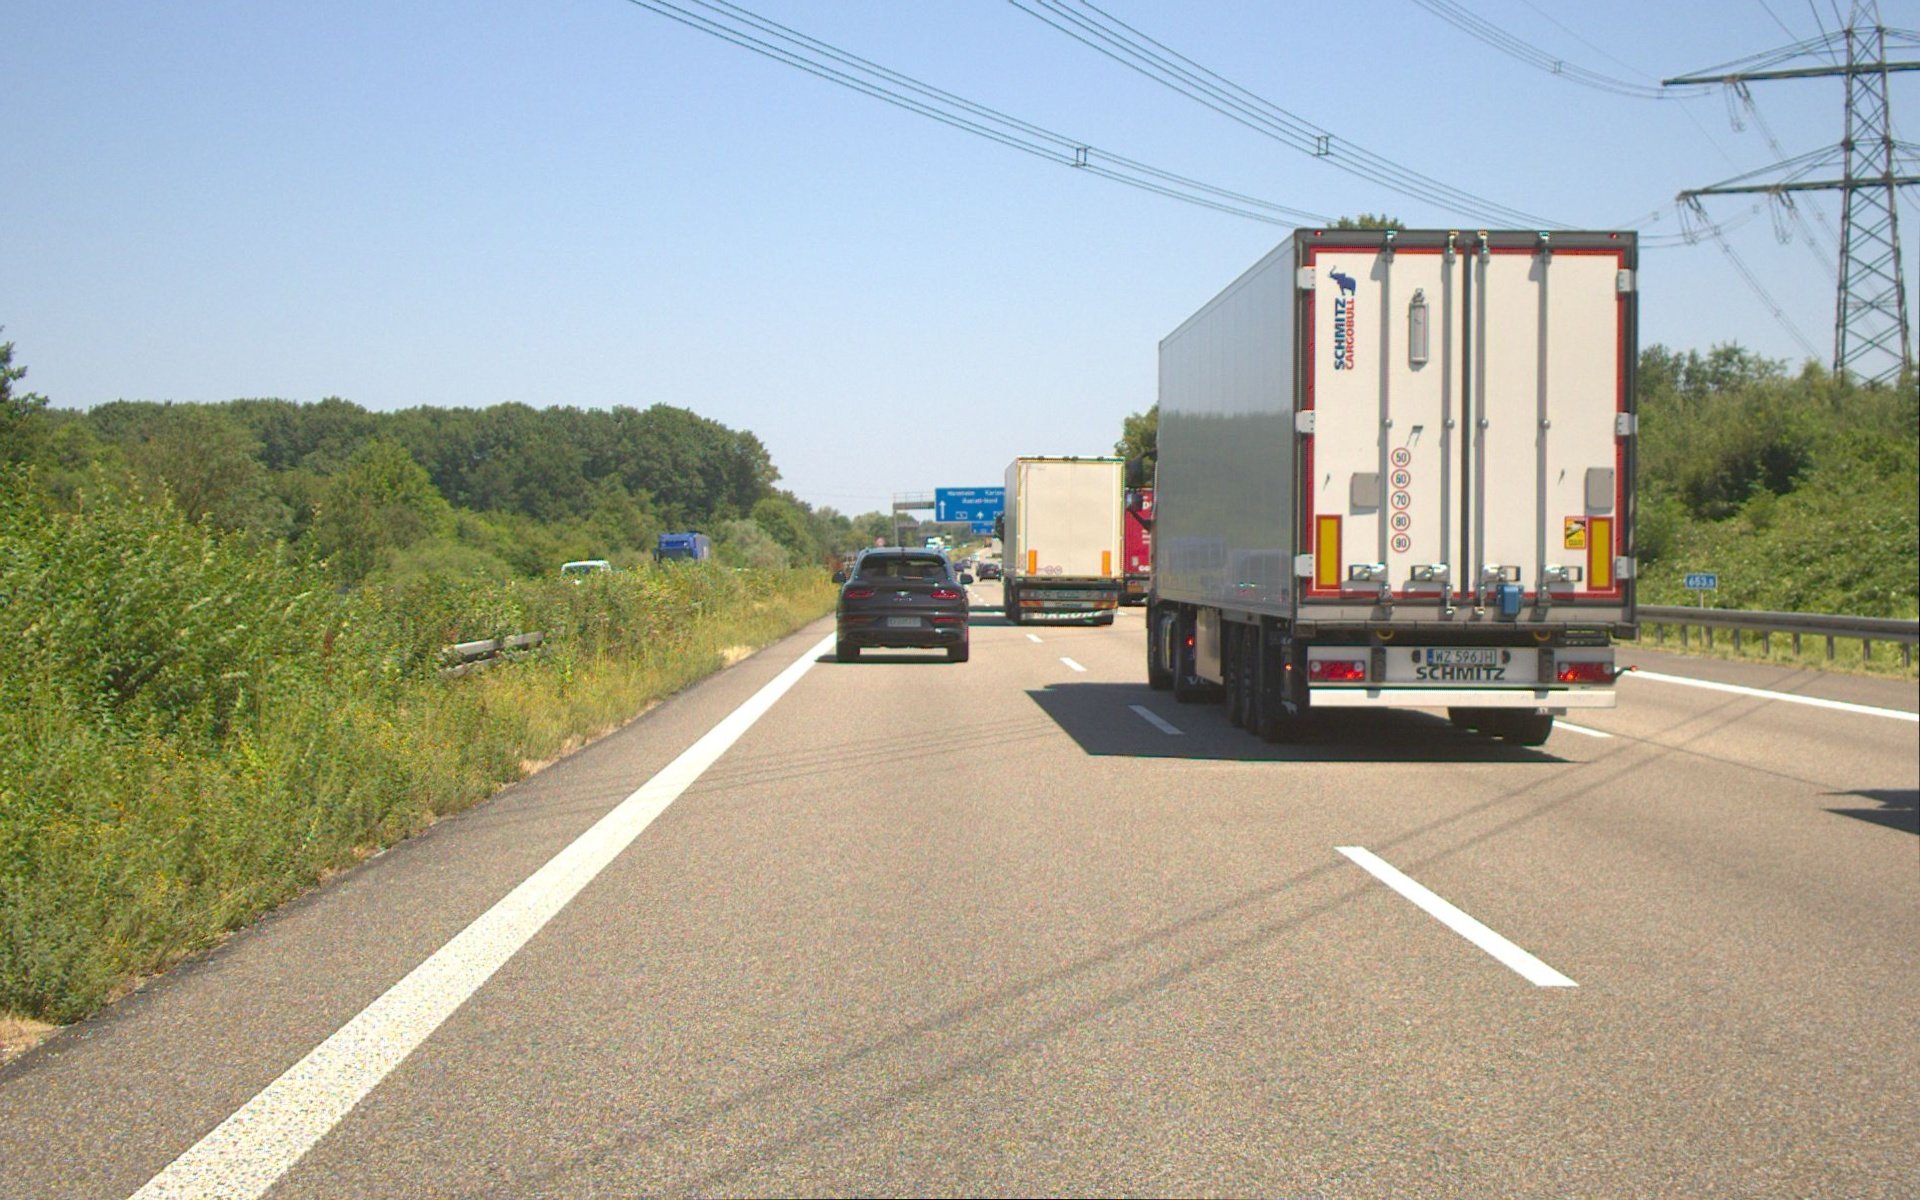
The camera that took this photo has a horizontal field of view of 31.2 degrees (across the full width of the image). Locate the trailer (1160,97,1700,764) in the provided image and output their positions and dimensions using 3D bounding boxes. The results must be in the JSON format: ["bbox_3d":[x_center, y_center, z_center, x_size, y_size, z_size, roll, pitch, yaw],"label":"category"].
[{"bbox_3d":[3.836,-1.319,31.596,3.087,4.868,12.258,1,1,0],"label":"trailer"}]

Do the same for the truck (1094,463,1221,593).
[{"bbox_3d":[7.123,-2.602,126.139,3.512,4.477,13.252,1,1,-1],"label":"truck"}]

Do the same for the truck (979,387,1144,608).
[{"bbox_3d":[2.414,-2.504,86.051,3.512,5.149,10.259,1,1,-1],"label":"truck"}]

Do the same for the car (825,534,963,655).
[{"bbox_3d":[-1.049,-0.122,52.558,1.993,1.766,4.001,0,1,-3],"label":"car"}]

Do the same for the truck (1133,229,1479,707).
[{"bbox_3d":[3.746,-1.400,38.865,3.087,4.868,6.598,1,1,0],"label":"truck"}]

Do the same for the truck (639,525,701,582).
[{"bbox_3d":[-20.018,-3.245,237.711,3.512,3.756,12.044,1,1,-1],"label":"truck"}]
